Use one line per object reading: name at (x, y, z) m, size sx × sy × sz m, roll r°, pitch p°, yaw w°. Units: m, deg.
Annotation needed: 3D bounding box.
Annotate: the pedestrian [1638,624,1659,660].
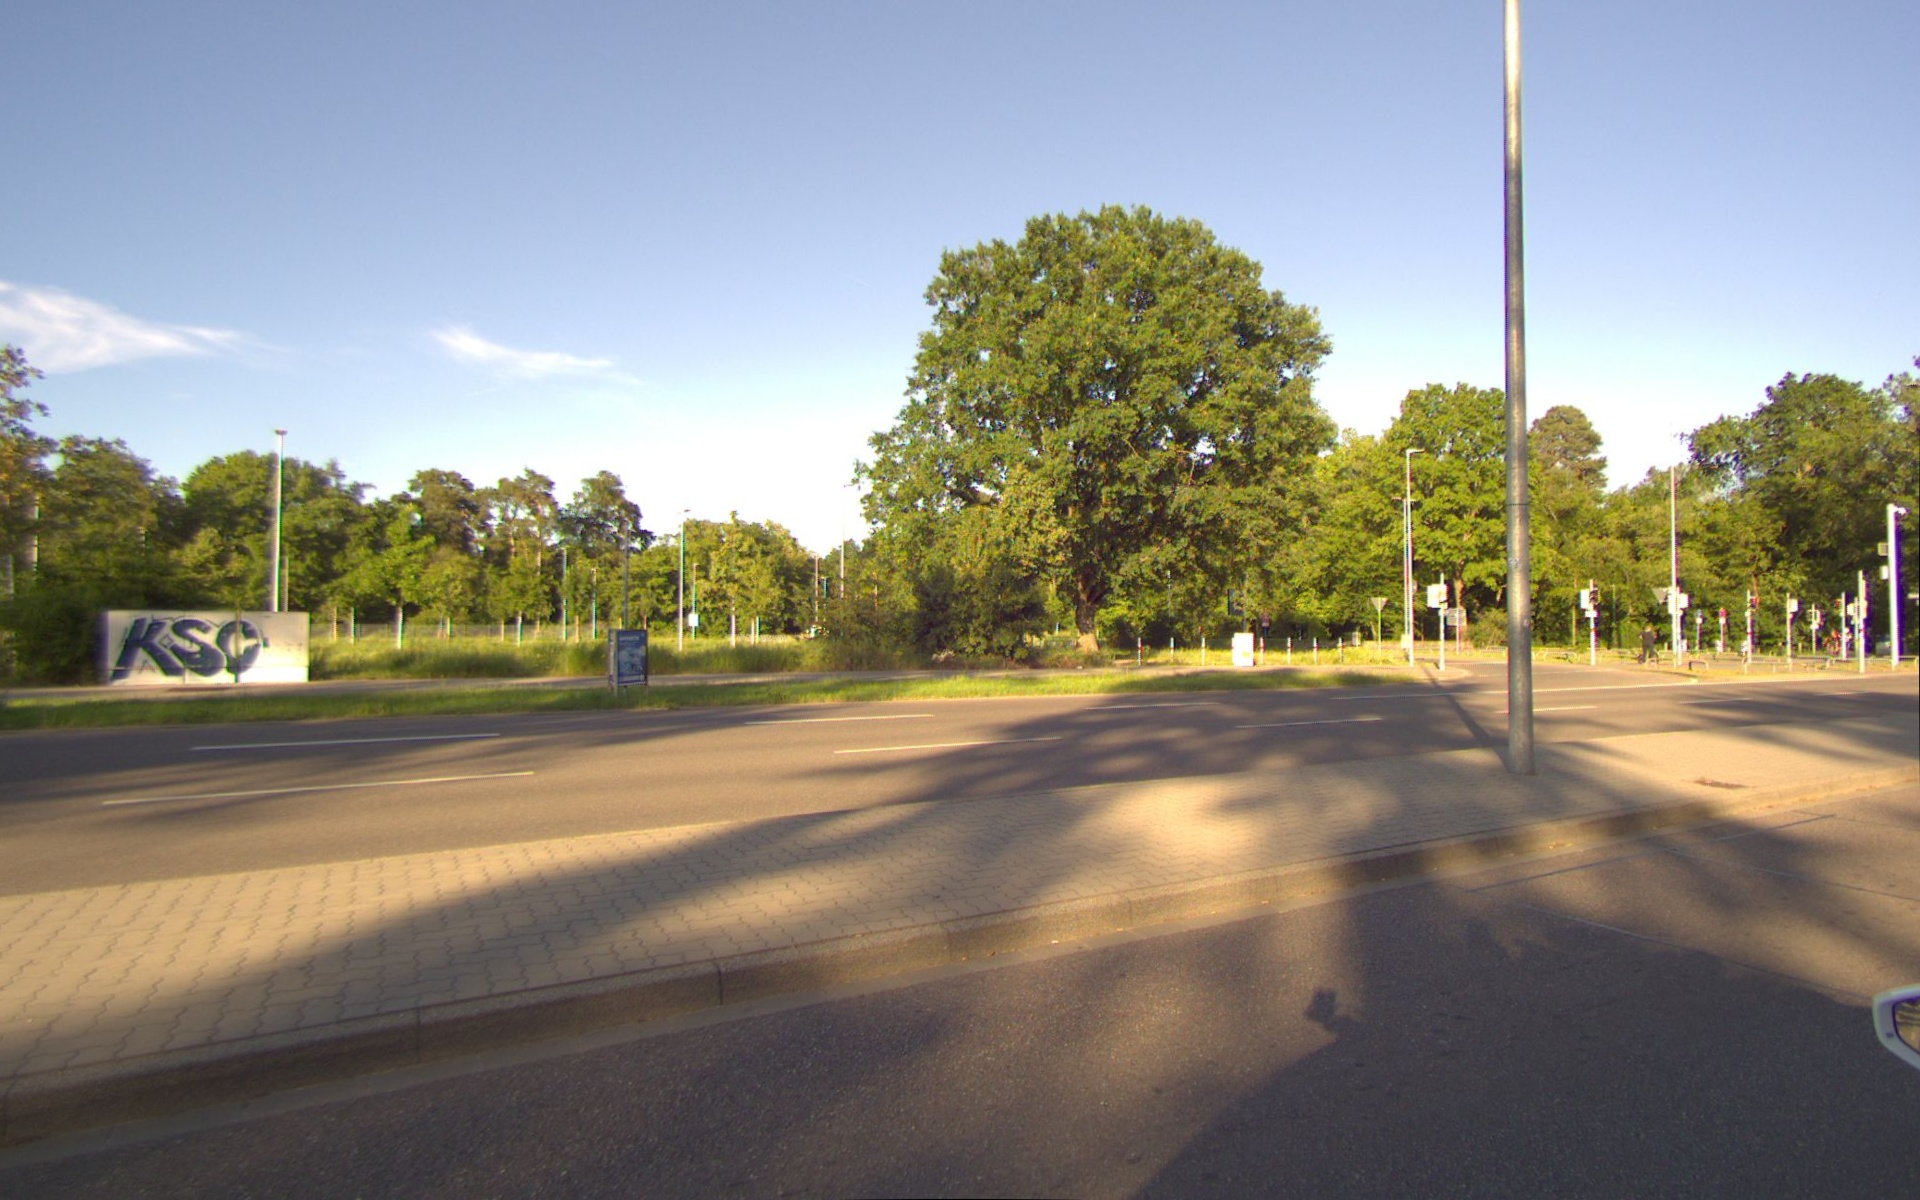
pedestrian at (31.229, 1.903, 45.558) m, size 0.636 × 1.580 × 0.539 m, roll -1°, pitch -2°, yaw 18°
